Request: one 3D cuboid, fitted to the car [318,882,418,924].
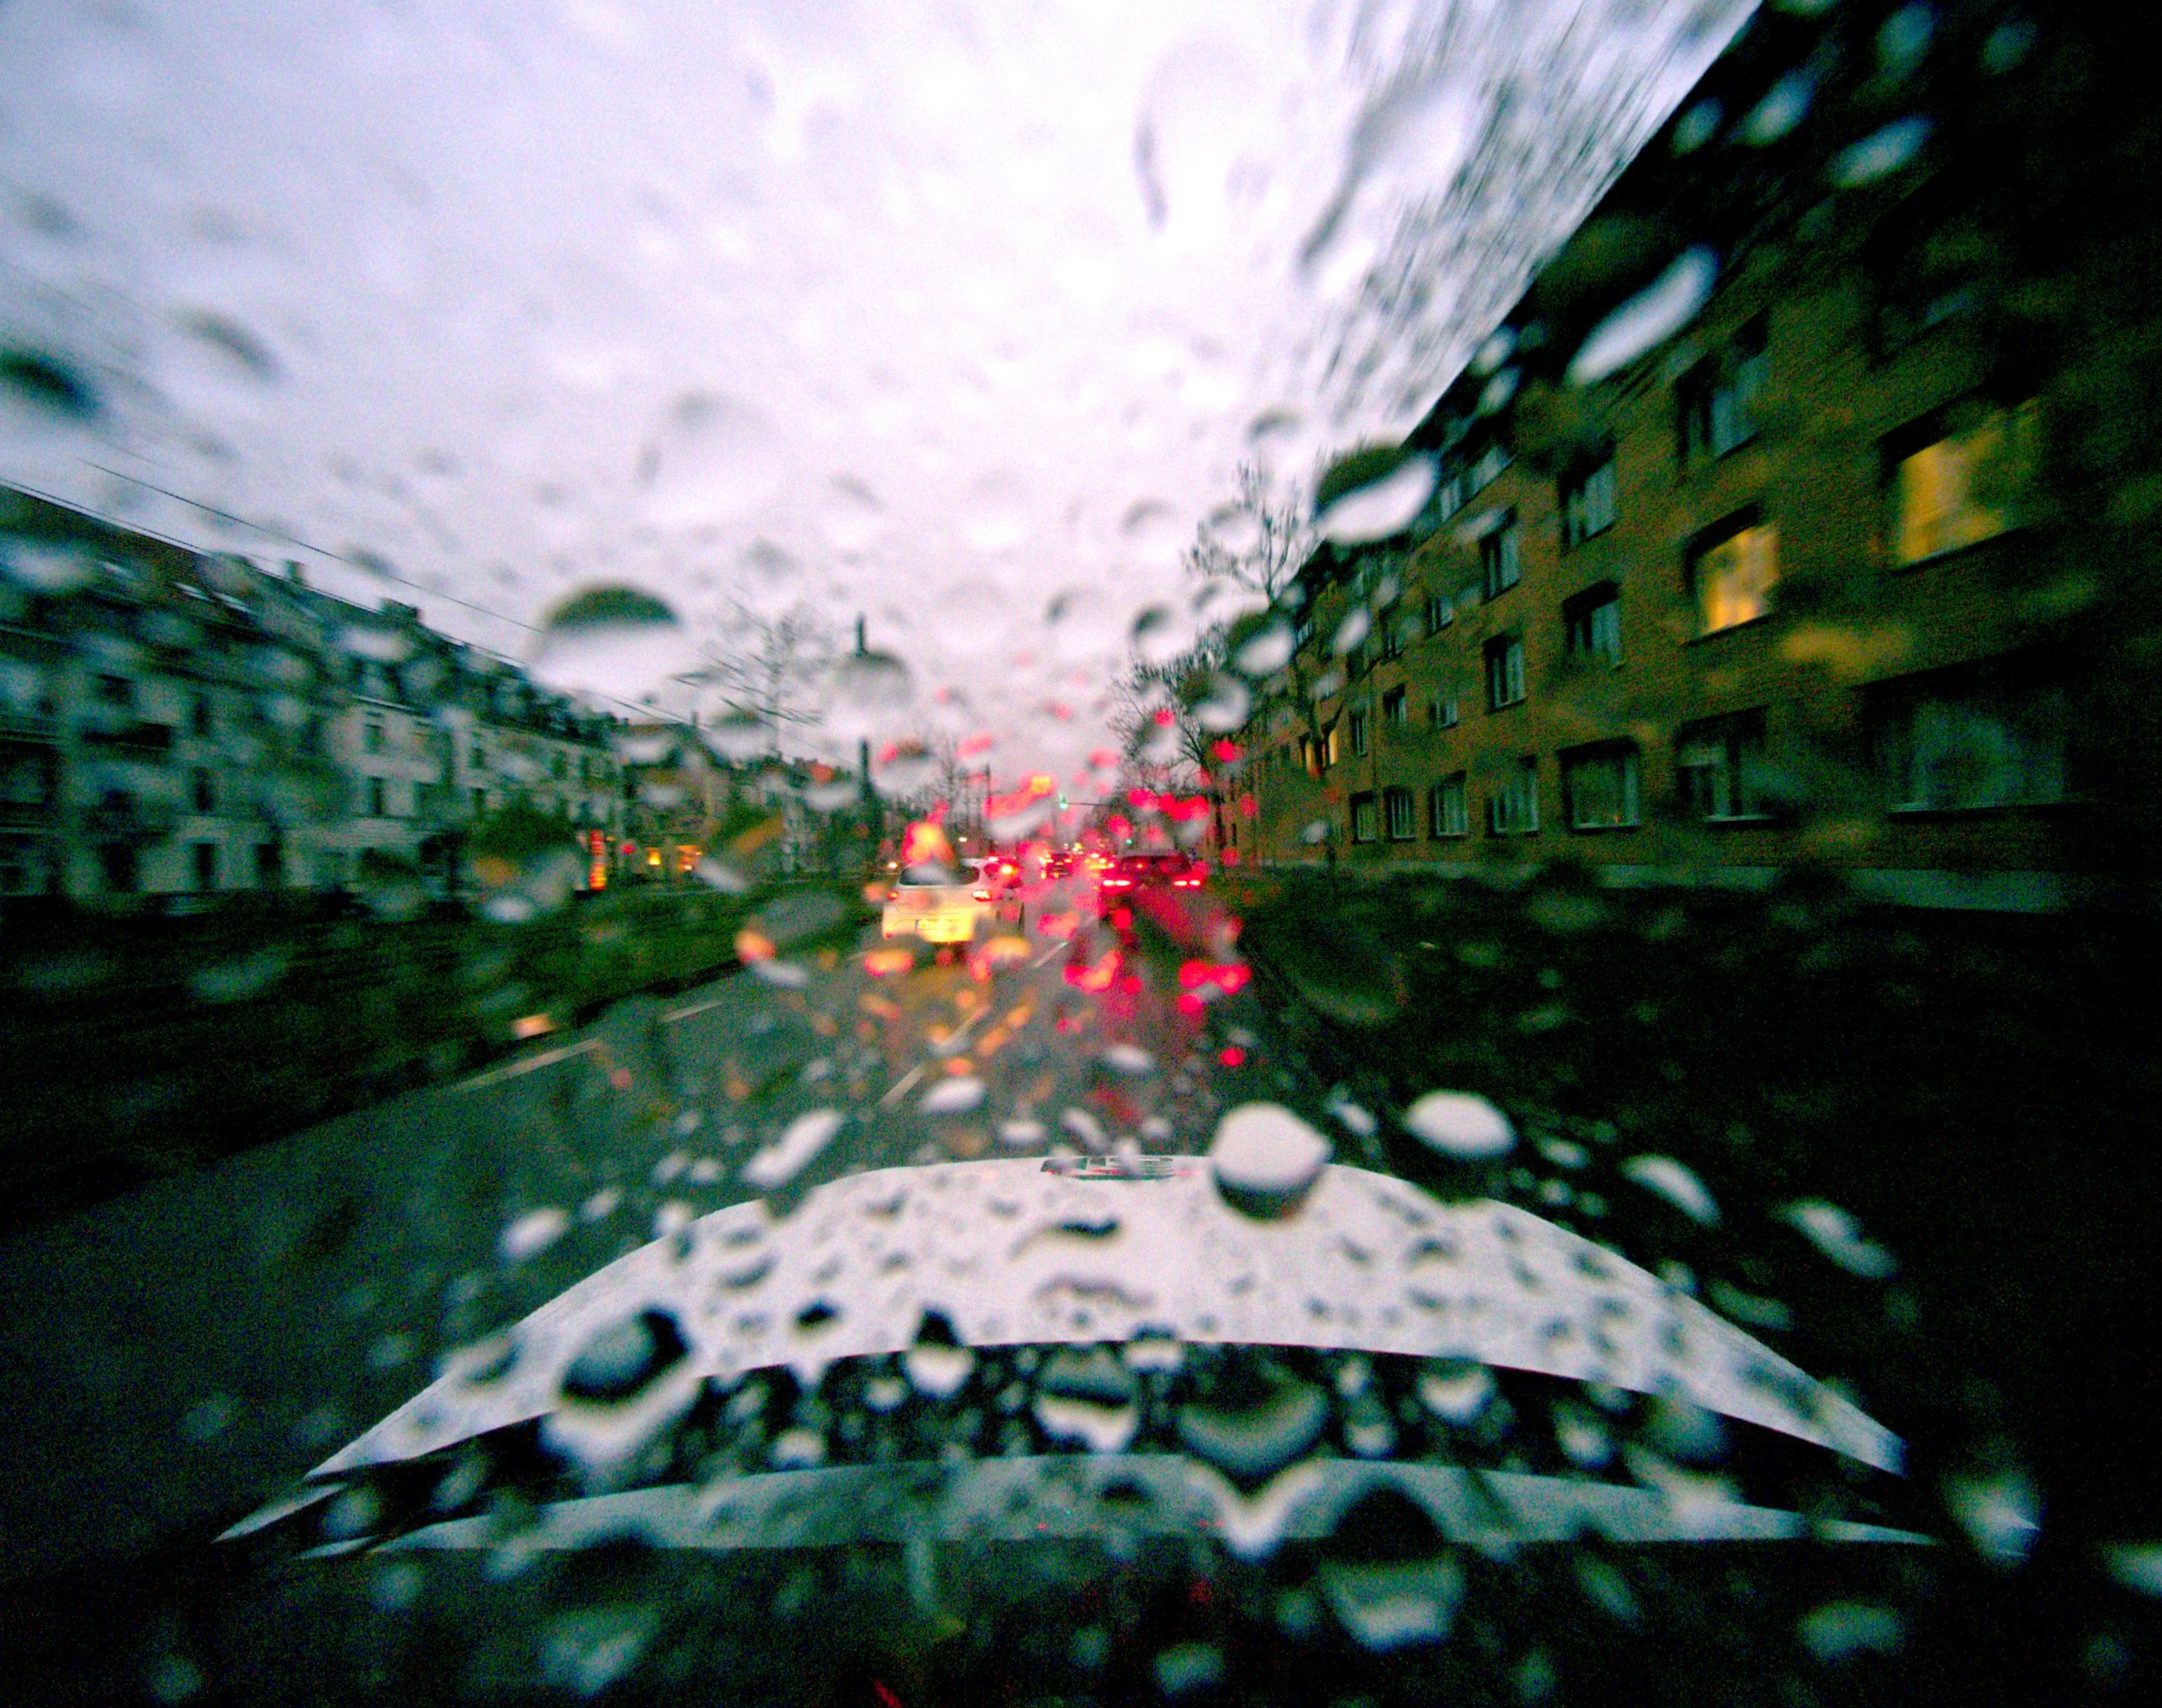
[{"bbox_3d":[-28.962,1.985,33.067,3.948,1.486,2.013,-3,0,33],"label":"car"}]

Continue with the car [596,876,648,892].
[{"bbox_3d":[-45.624,3.002,81.067,3.983,1.420,1.995,-2,0,-7],"label":"car"}]

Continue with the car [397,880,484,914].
[{"bbox_3d":[-28.457,1.900,36.179,3.948,1.332,2.013,-3,0,36],"label":"car"}]

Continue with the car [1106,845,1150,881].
[{"bbox_3d":[2.438,0.469,43.124,1.987,1.744,3.999,-2,0,-1],"label":"car"}]

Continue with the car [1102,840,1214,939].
[{"bbox_3d":[1.316,0.584,15.384,1.667,1.600,4.052,-1,0,-1],"label":"car"}]

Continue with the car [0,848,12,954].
[{"bbox_3d":[-28.835,1.229,20.447,5.791,2.797,2.013,-3,0,41],"label":"car"}]

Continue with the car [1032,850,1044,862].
[{"bbox_3d":[-7.330,0.284,139.108,1.811,2.013,3.999,-2,0,0],"label":"car"}]

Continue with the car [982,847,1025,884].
[{"bbox_3d":[-3.628,0.523,38.805,1.667,1.600,4.052,-1,0,-1],"label":"car"}]

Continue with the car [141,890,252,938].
[{"bbox_3d":[-29.009,1.927,26.691,3.948,1.332,2.013,-3,0,36],"label":"car"}]

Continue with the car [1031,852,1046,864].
[{"bbox_3d":[-6.287,0.545,121.726,1.987,1.717,3.999,-2,0,0],"label":"car"}]

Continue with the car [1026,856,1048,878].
[{"bbox_3d":[-4.450,1.308,83.119,1.987,2.013,3.999,-2,0,0],"label":"car"}]

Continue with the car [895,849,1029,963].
[{"bbox_3d":[-1.840,0.746,13.722,1.667,1.600,4.052,-1,0,-1],"label":"car"}]

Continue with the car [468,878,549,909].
[{"bbox_3d":[-27.946,1.919,39.717,3.948,1.332,2.013,-3,0,36],"label":"car"}]
